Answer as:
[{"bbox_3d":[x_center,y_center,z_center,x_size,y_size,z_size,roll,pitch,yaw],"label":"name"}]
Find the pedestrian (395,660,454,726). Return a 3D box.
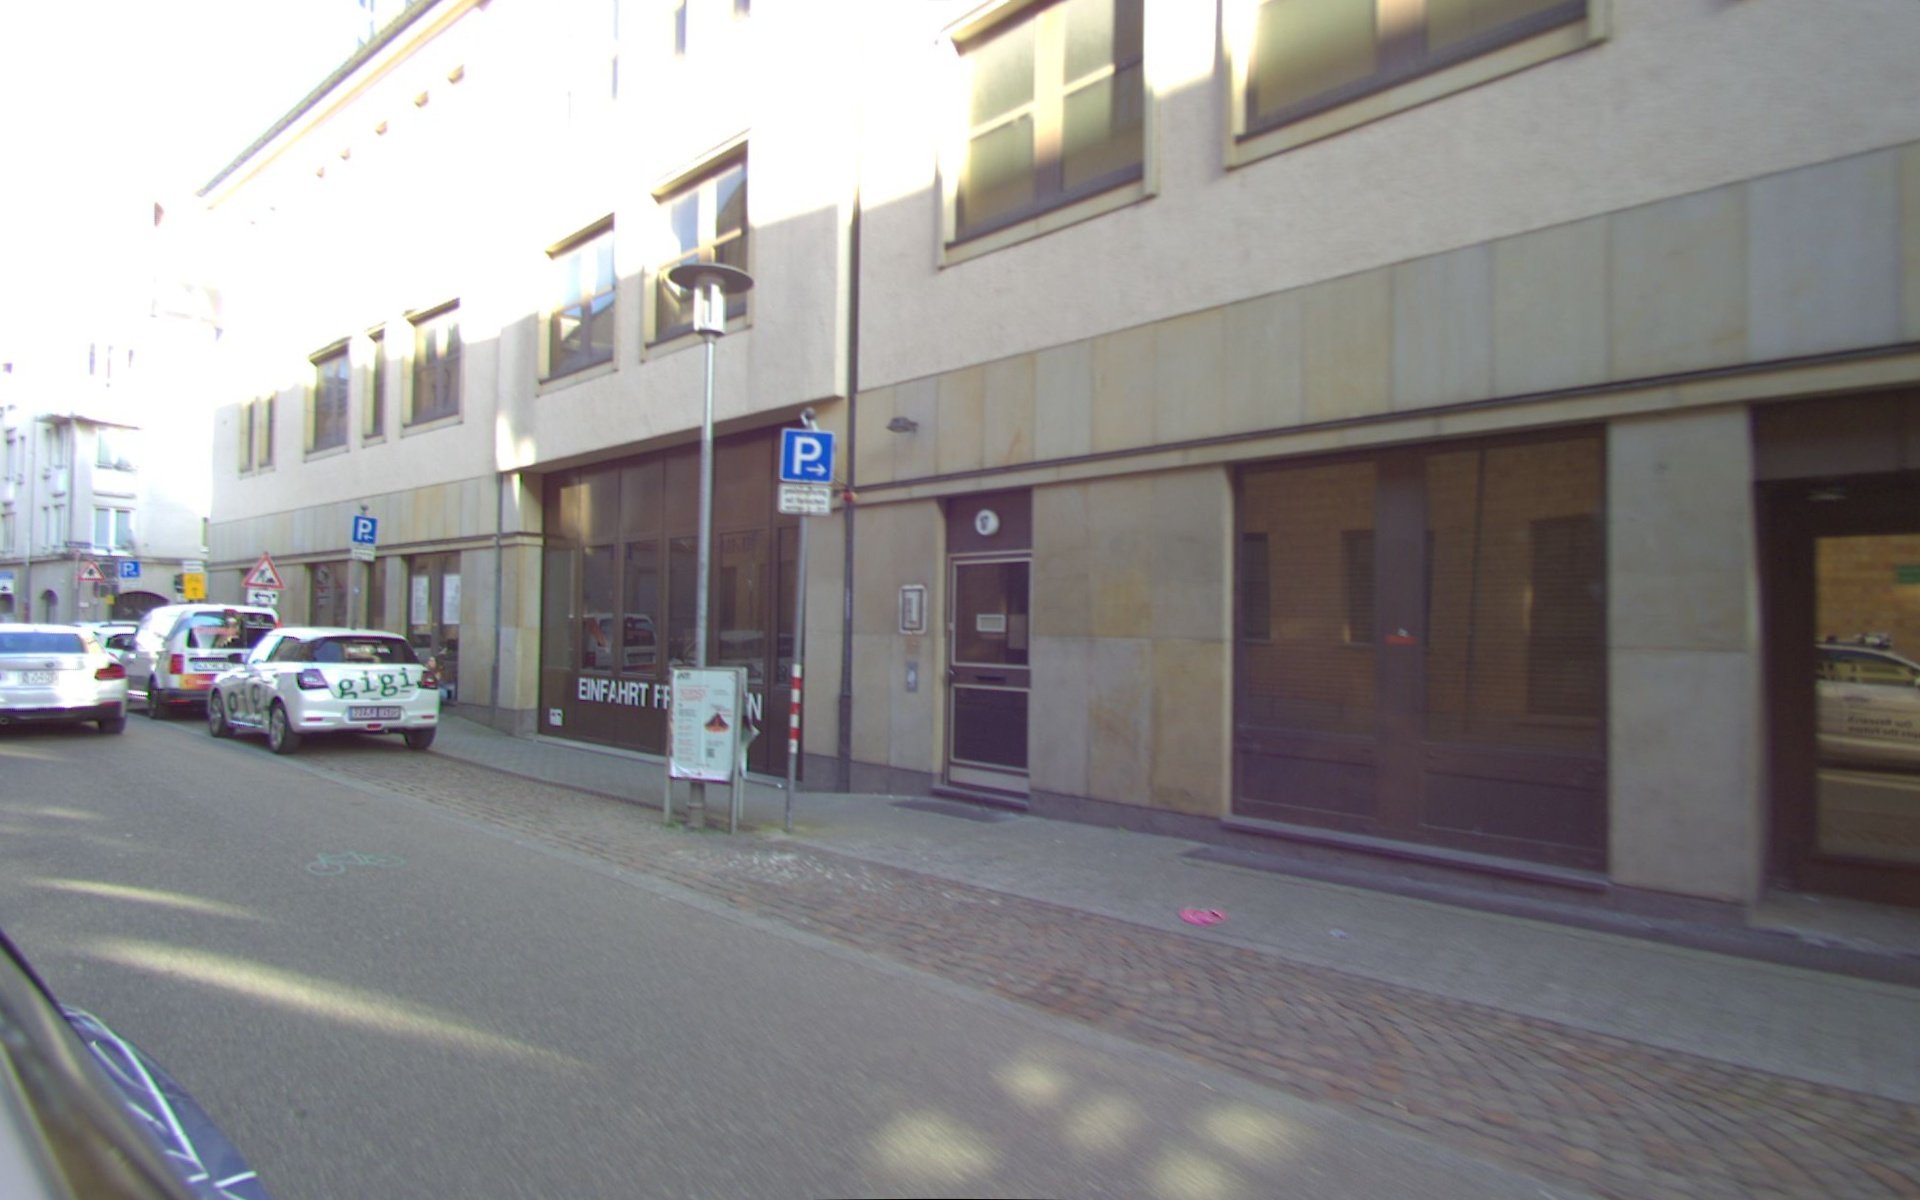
[{"bbox_3d":[-8.890,1.531,16.808,0.616,1.043,0.649,-1,-2,36],"label":"pedestrian"}]

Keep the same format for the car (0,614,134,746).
[{"bbox_3d":[-12.577,0.973,13.413,4.156,1.529,1.697,-1,-3,39],"label":"car"}]

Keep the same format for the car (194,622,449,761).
[{"bbox_3d":[-8.345,1.102,13.114,3.772,1.534,1.653,-1,-5,40],"label":"car"}]

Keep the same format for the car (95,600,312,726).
[{"bbox_3d":[-12.988,1.023,17.262,4.730,1.872,1.880,-1,-4,40],"label":"car"}]

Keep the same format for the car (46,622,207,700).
[{"bbox_3d":[-17.750,1.257,21.504,3.792,1.504,1.721,-1,-4,37],"label":"car"}]

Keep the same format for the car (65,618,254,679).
[{"bbox_3d":[-22.214,1.316,28.185,3.941,1.558,1.765,2,-2,-45],"label":"car"}]
